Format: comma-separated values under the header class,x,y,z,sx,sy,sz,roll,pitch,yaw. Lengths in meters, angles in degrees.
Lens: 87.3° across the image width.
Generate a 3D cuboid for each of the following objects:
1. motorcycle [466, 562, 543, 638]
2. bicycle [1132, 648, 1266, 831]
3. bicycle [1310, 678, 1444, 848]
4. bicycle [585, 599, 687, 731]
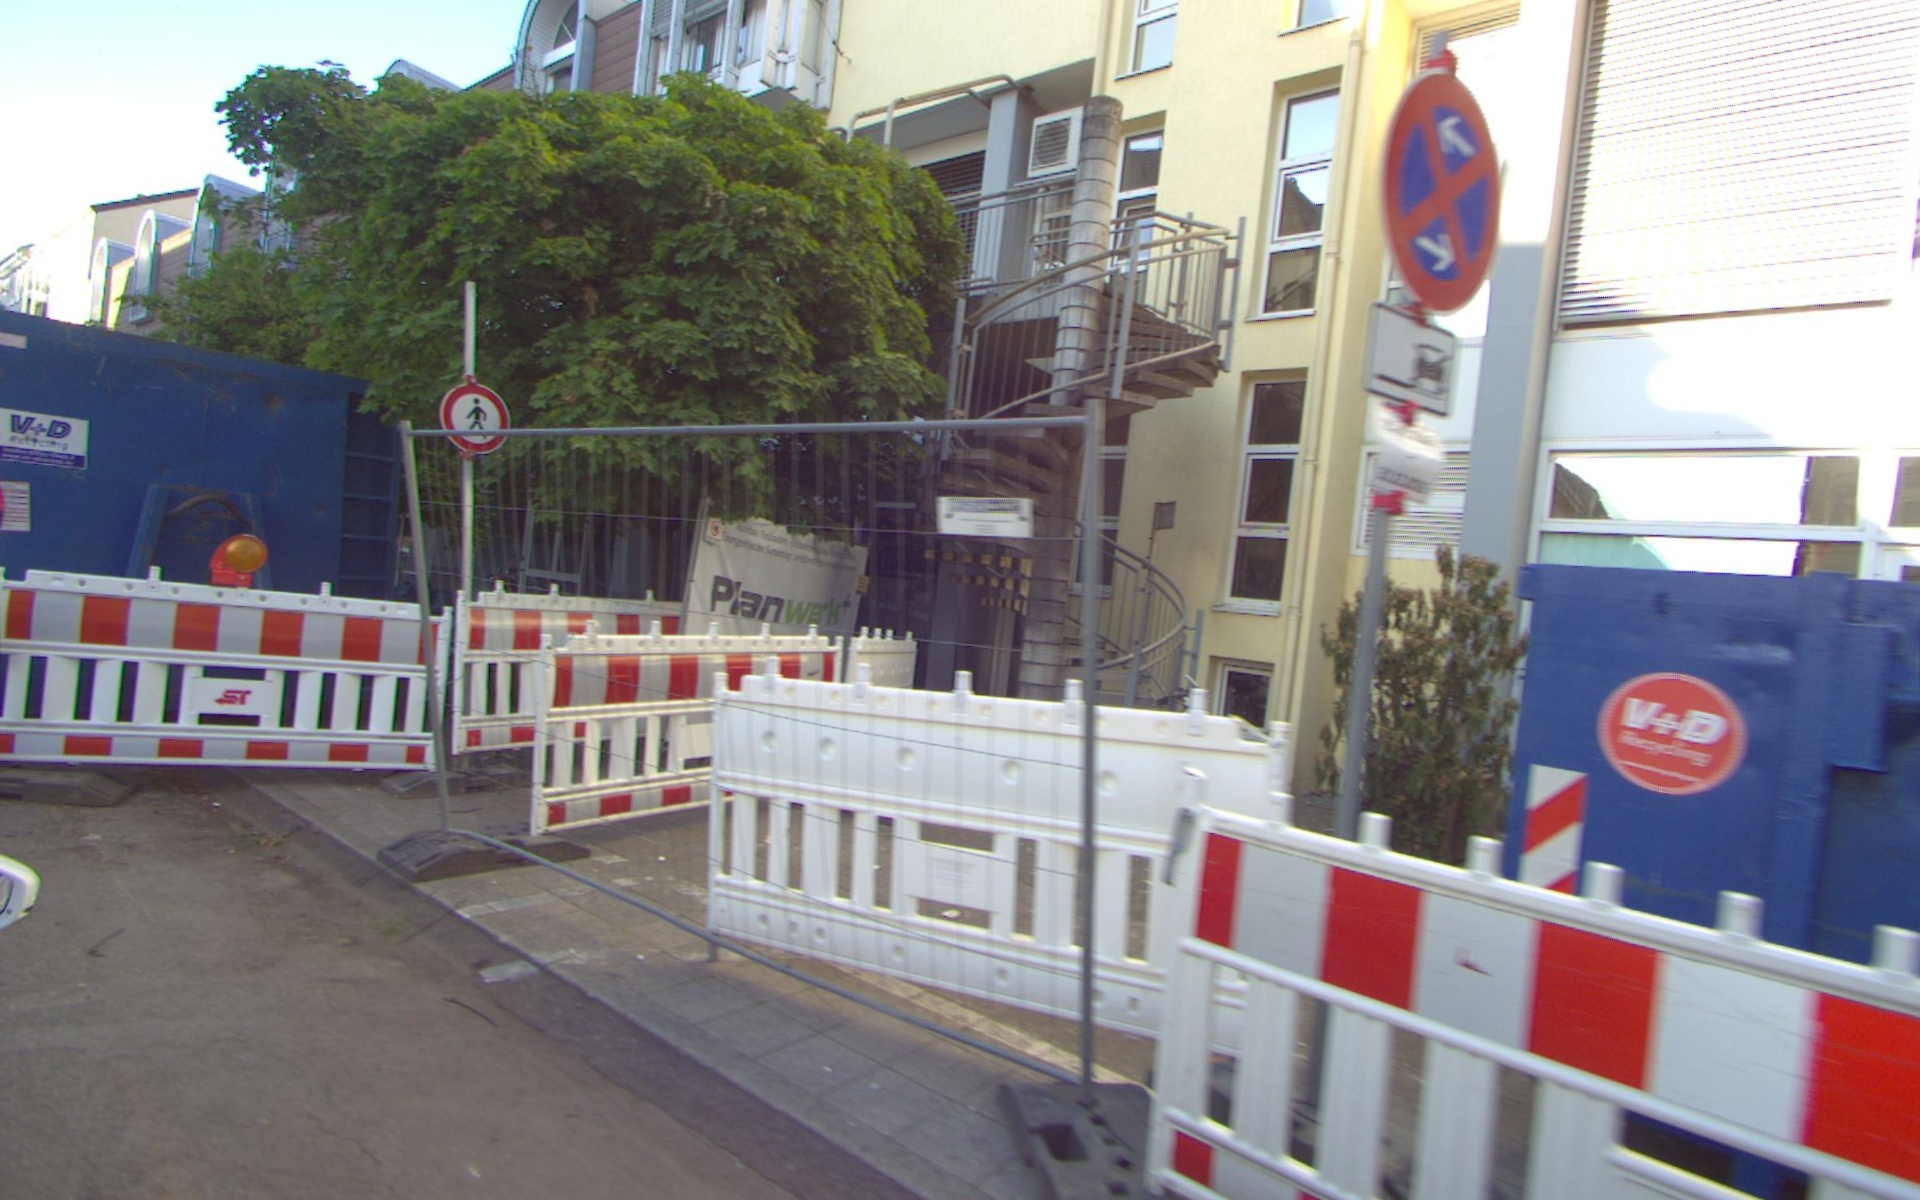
class,x,y,z,sx,sy,sz,roll,pitch,yaw
motorcycle,-8.463,-0.033,18.628,0.863,1.237,2.436,6,0,-33
bicycle,2.002,1.108,8.258,0.540,1.282,1.650,7,-2,28
bicycle,3.518,1.285,8.388,0.555,1.182,1.883,7,1,34
bicycle,-3.085,0.581,9.509,0.563,1.082,1.357,8,-1,-28
